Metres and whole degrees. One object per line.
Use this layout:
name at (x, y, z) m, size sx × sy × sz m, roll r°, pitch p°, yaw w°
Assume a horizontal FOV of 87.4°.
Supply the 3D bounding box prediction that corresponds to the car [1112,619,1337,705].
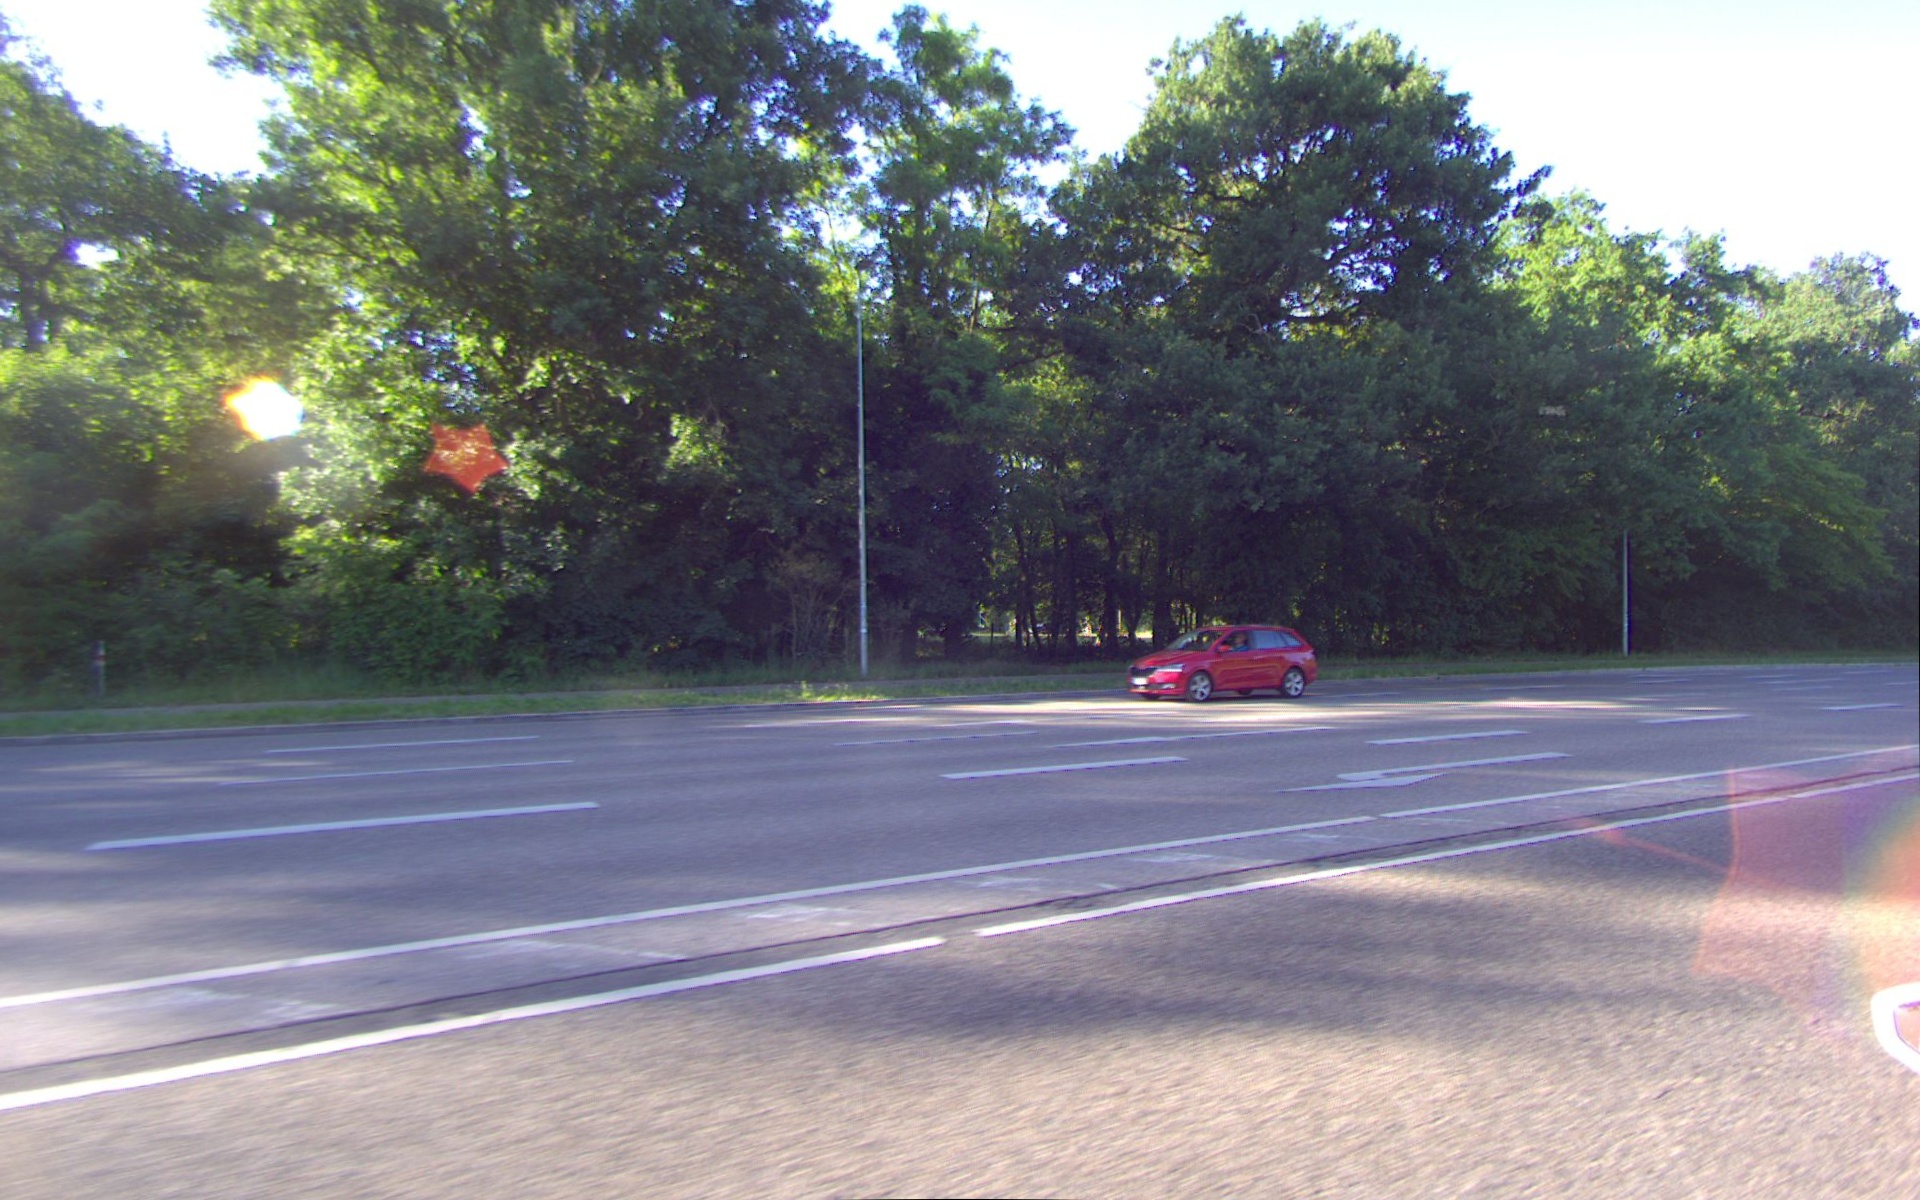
car at (5.415, 1.204, 20.487) m, size 4.286 × 1.584 × 1.985 m, roll 1°, pitch -2°, yaw -30°
